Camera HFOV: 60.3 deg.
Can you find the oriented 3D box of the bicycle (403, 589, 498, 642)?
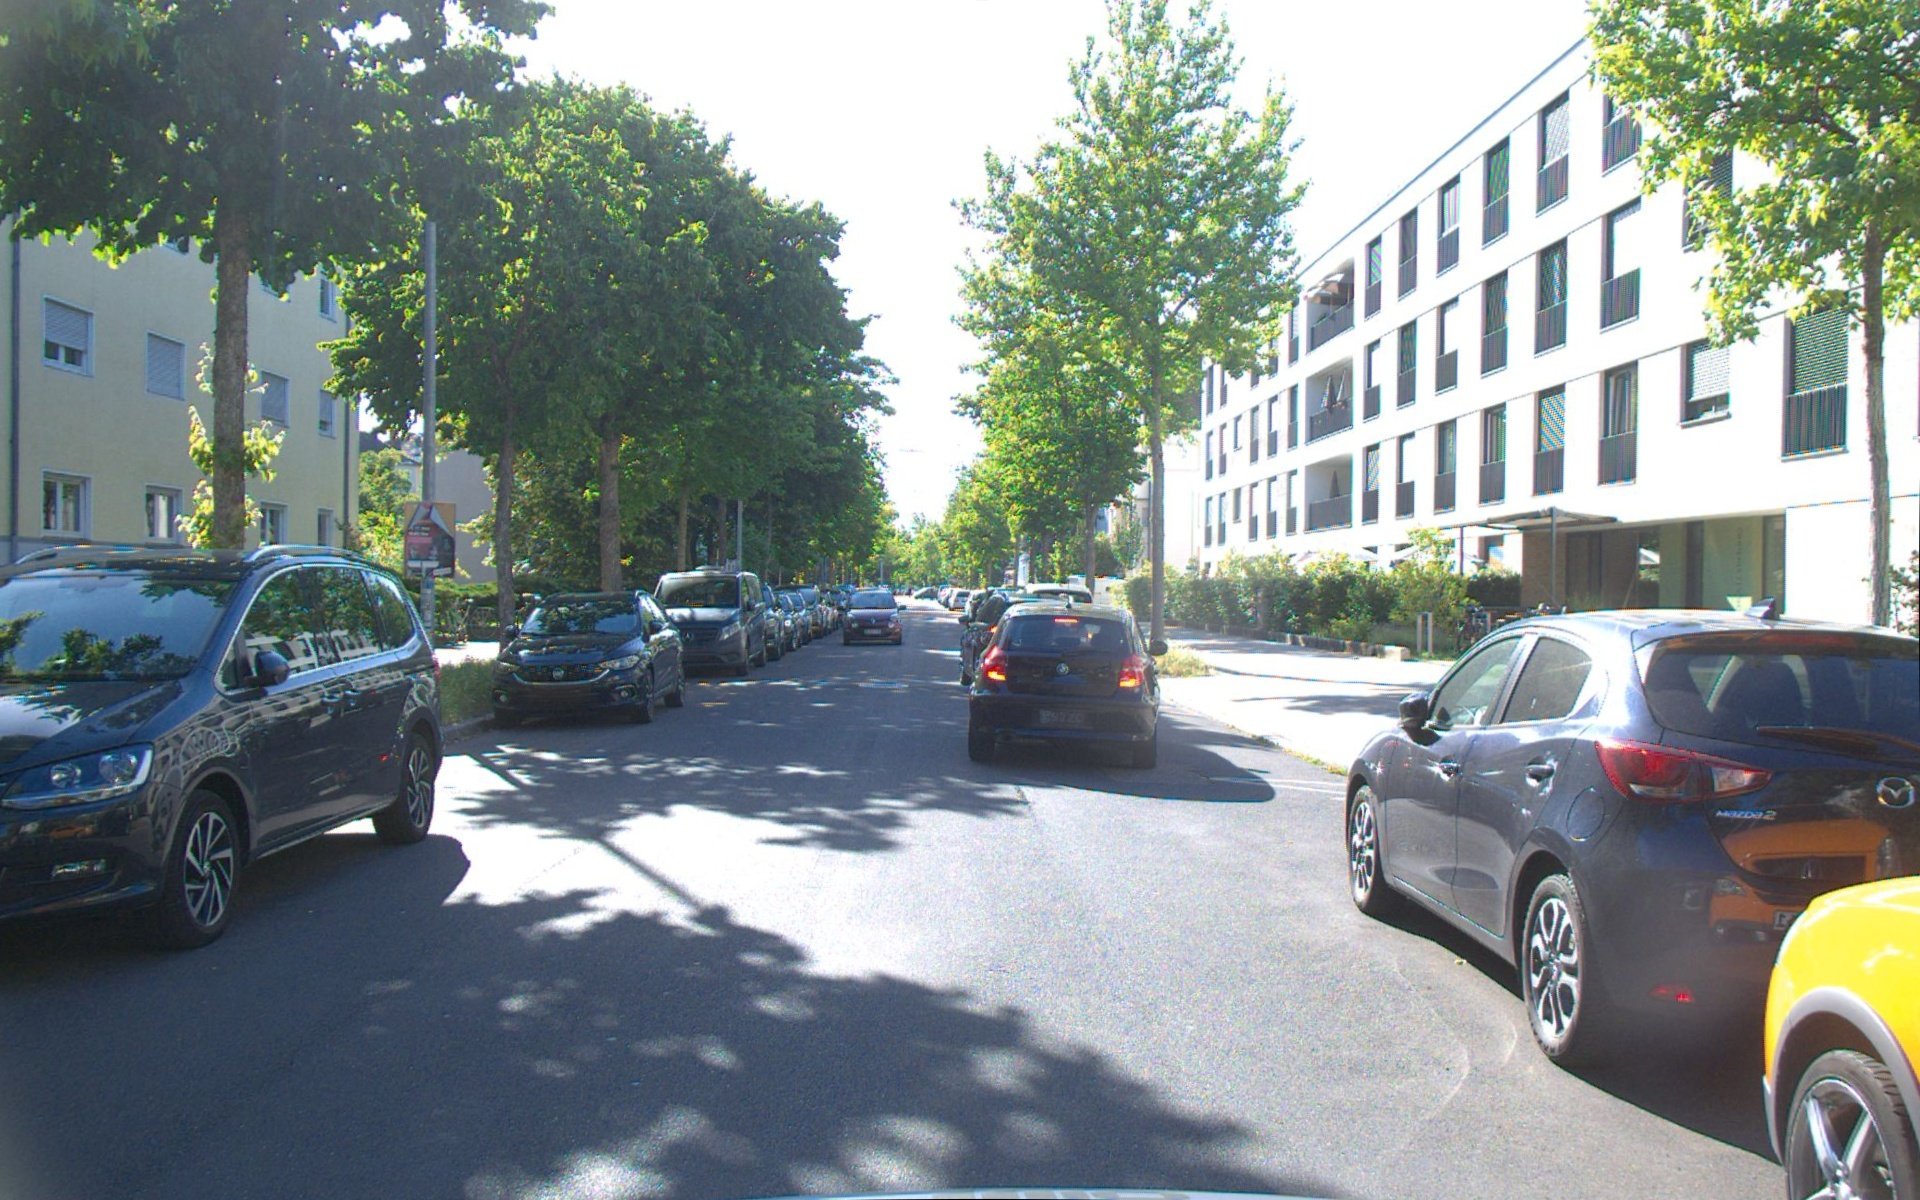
[{"bbox_3d":[-12.071,0.351,39.232,2.108,1.230,0.688,0,0,-13],"label":"bicycle"}]

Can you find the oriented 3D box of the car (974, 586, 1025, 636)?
[{"bbox_3d":[1.420,0.378,60.298,1.686,1.669,3.851,3,0,0],"label":"car"}]

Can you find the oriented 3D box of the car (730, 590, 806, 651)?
[{"bbox_3d":[-4.811,0.483,41.819,1.580,1.452,4.056,-1,0,-2],"label":"car"}]

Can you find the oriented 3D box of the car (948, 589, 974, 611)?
[{"bbox_3d":[0.077,-0.007,115.468,1.685,1.506,3.852,0,0,1],"label":"car"}]

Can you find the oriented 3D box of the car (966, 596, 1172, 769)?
[{"bbox_3d":[0.924,0.689,15.593,1.616,1.421,3.410,0,0,-2],"label":"car"}]

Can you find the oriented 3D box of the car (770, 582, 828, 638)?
[{"bbox_3d":[-5.055,0.289,52.348,1.580,1.708,4.232,-1,0,-2],"label":"car"}]

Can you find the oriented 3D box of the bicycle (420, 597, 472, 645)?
[{"bbox_3d":[-11.284,0.454,36.384,0.582,1.009,1.927,0,0,-1],"label":"bicycle"}]

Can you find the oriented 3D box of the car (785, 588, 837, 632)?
[{"bbox_3d":[-5.192,0.331,58.048,1.580,1.478,3.864,-1,0,-2],"label":"car"}]

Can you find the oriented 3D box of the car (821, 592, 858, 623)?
[{"bbox_3d":[-5.731,0.338,79.016,1.580,1.416,3.864,-1,0,-2],"label":"car"}]

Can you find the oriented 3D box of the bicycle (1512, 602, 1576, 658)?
[{"bbox_3d":[11.665,0.587,33.095,0.535,1.073,1.778,0,0,-4],"label":"bicycle"}]

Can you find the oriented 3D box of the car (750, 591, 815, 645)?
[{"bbox_3d":[-4.997,0.475,46.908,1.580,1.452,3.724,-1,0,-2],"label":"car"}]

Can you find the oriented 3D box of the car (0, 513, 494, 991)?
[{"bbox_3d":[-3.949,0.550,8.435,1.812,1.710,4.975,-2,1,-2],"label":"car"}]

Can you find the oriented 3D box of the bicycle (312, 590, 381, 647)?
[{"bbox_3d":[-11.265,0.323,30.423,0.582,1.009,1.927,0,0,-1],"label":"bicycle"}]

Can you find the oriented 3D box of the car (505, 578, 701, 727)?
[{"bbox_3d":[-4.258,0.563,20.385,1.477,1.575,4.776,-2,0,-2],"label":"car"}]

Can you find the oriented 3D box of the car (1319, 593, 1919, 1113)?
[{"bbox_3d":[2.787,0.717,6.809,1.666,1.474,4.081,0,0,-1],"label":"car"}]

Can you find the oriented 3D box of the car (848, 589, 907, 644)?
[{"bbox_3d":[-2.239,0.427,45.507,1.474,1.451,3.177,0,0,0],"label":"car"}]

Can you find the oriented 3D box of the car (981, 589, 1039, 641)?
[{"bbox_3d":[1.597,0.469,54.294,1.686,1.555,4.000,3,0,0],"label":"car"}]

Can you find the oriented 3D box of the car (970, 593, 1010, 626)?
[{"bbox_3d":[1.336,0.403,75.416,1.686,1.403,3.851,3,0,0],"label":"car"}]

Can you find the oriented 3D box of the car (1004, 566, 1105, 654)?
[{"bbox_3d":[1.886,0.195,34.172,1.810,1.659,4.410,1,0,0],"label":"car"}]

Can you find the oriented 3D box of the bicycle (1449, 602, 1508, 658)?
[{"bbox_3d":[10.330,0.582,33.014,0.535,1.073,1.690,0,0,-4],"label":"bicycle"}]

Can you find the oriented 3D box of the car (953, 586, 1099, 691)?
[{"bbox_3d":[0.914,0.514,24.907,1.618,1.450,3.995,0,0,-7],"label":"car"}]

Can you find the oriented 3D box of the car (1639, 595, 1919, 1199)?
[{"bbox_3d":[2.608,0.749,2.237,1.603,1.480,4.098,0,0,-2],"label":"car"}]

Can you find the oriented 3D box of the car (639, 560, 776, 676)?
[{"bbox_3d":[-4.581,0.294,30.689,1.789,1.938,5.141,-1,0,-1],"label":"car"}]

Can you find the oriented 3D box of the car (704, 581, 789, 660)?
[{"bbox_3d":[-4.648,0.414,36.514,1.580,1.639,4.226,-1,0,-4],"label":"car"}]

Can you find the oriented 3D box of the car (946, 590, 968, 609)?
[{"bbox_3d":[-0.256,-0.057,135.754,1.685,1.506,3.852,0,0,1],"label":"car"}]
